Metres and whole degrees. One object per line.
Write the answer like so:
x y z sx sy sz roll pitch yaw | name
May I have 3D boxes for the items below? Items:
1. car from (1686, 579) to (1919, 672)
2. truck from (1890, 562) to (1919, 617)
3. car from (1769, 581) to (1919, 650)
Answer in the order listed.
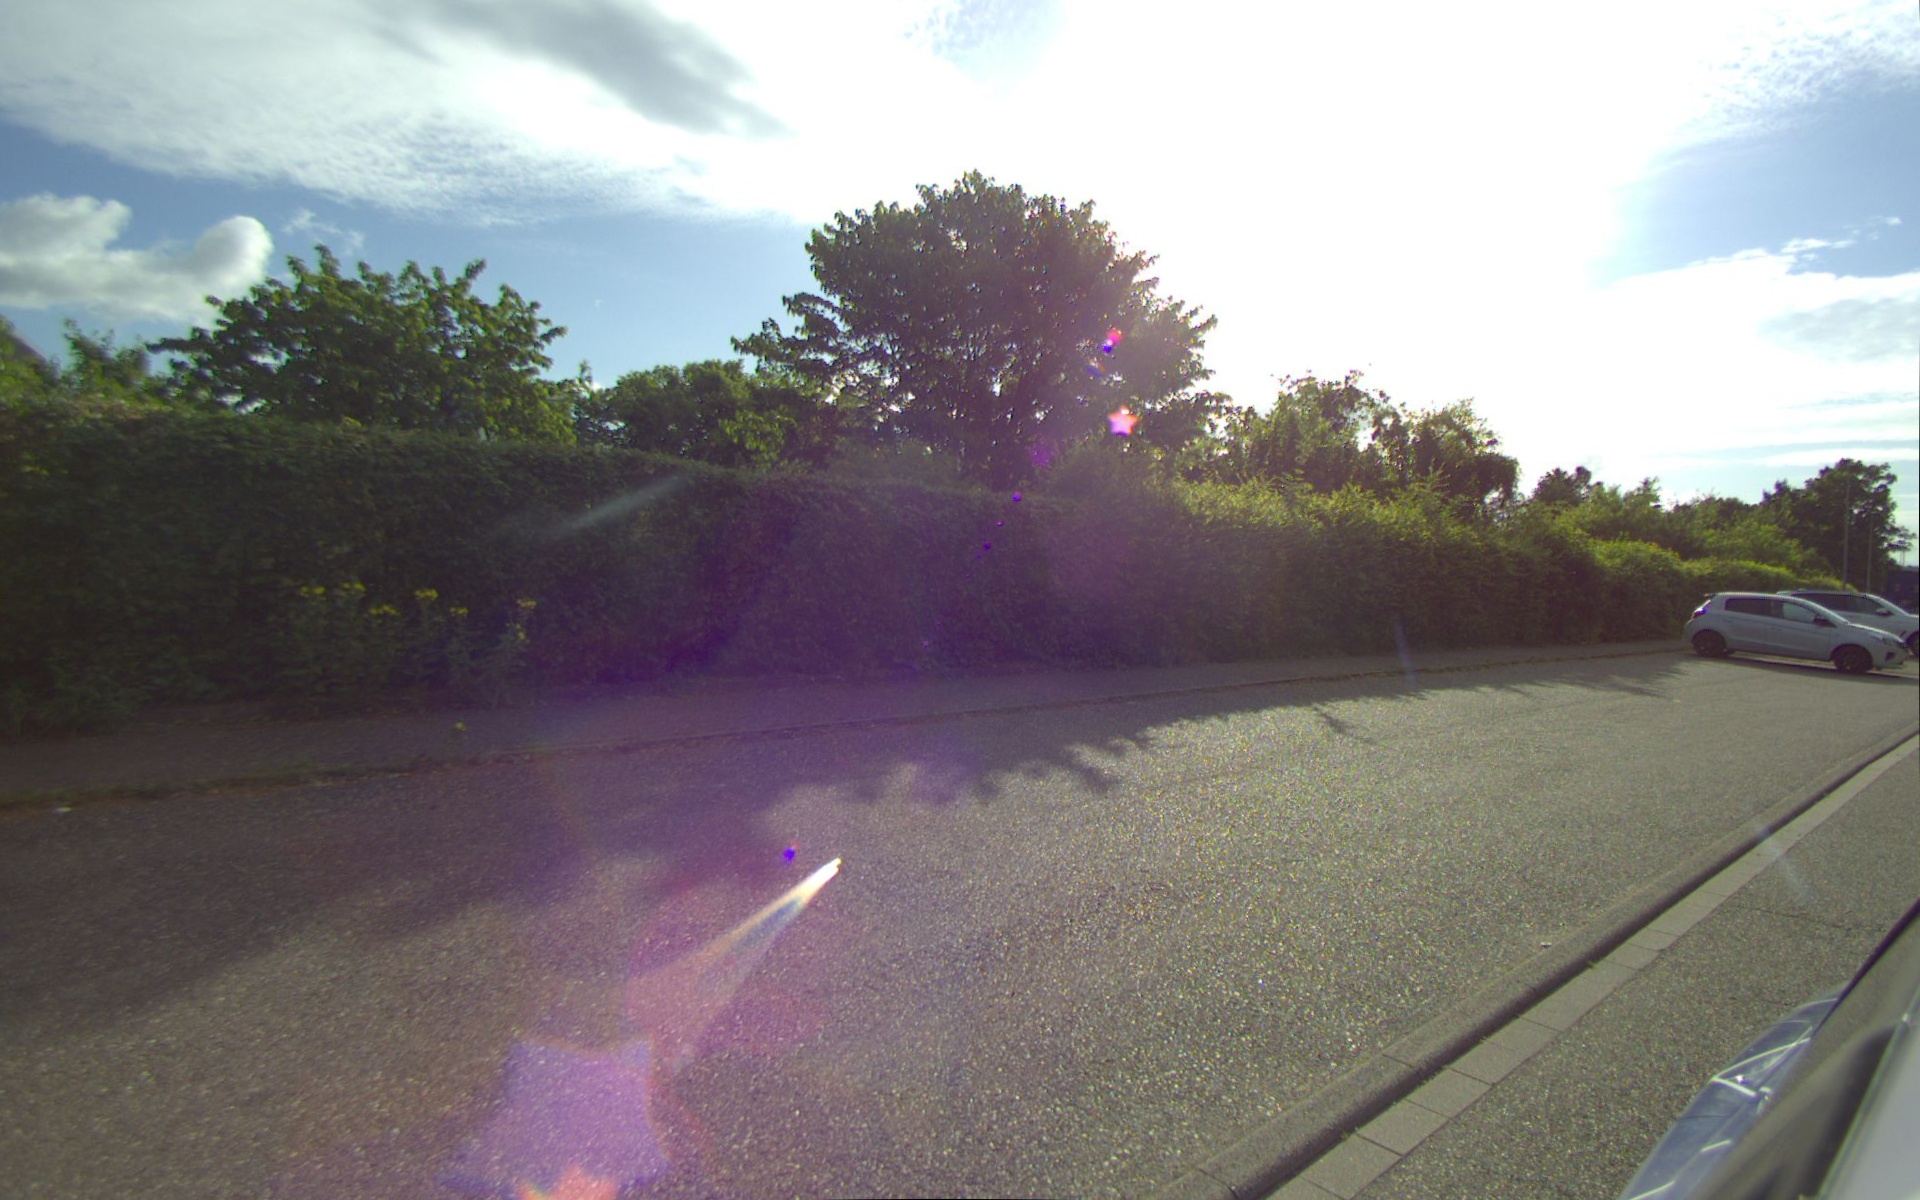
18.334 0.495 21.929 1.663 1.508 3.867 2 4 -41 | car
73.989 -0.730 78.130 2.595 4.005 6.190 7 5 40 | truck
26.249 0.444 28.906 1.732 1.720 4.599 0 4 -40 | car
